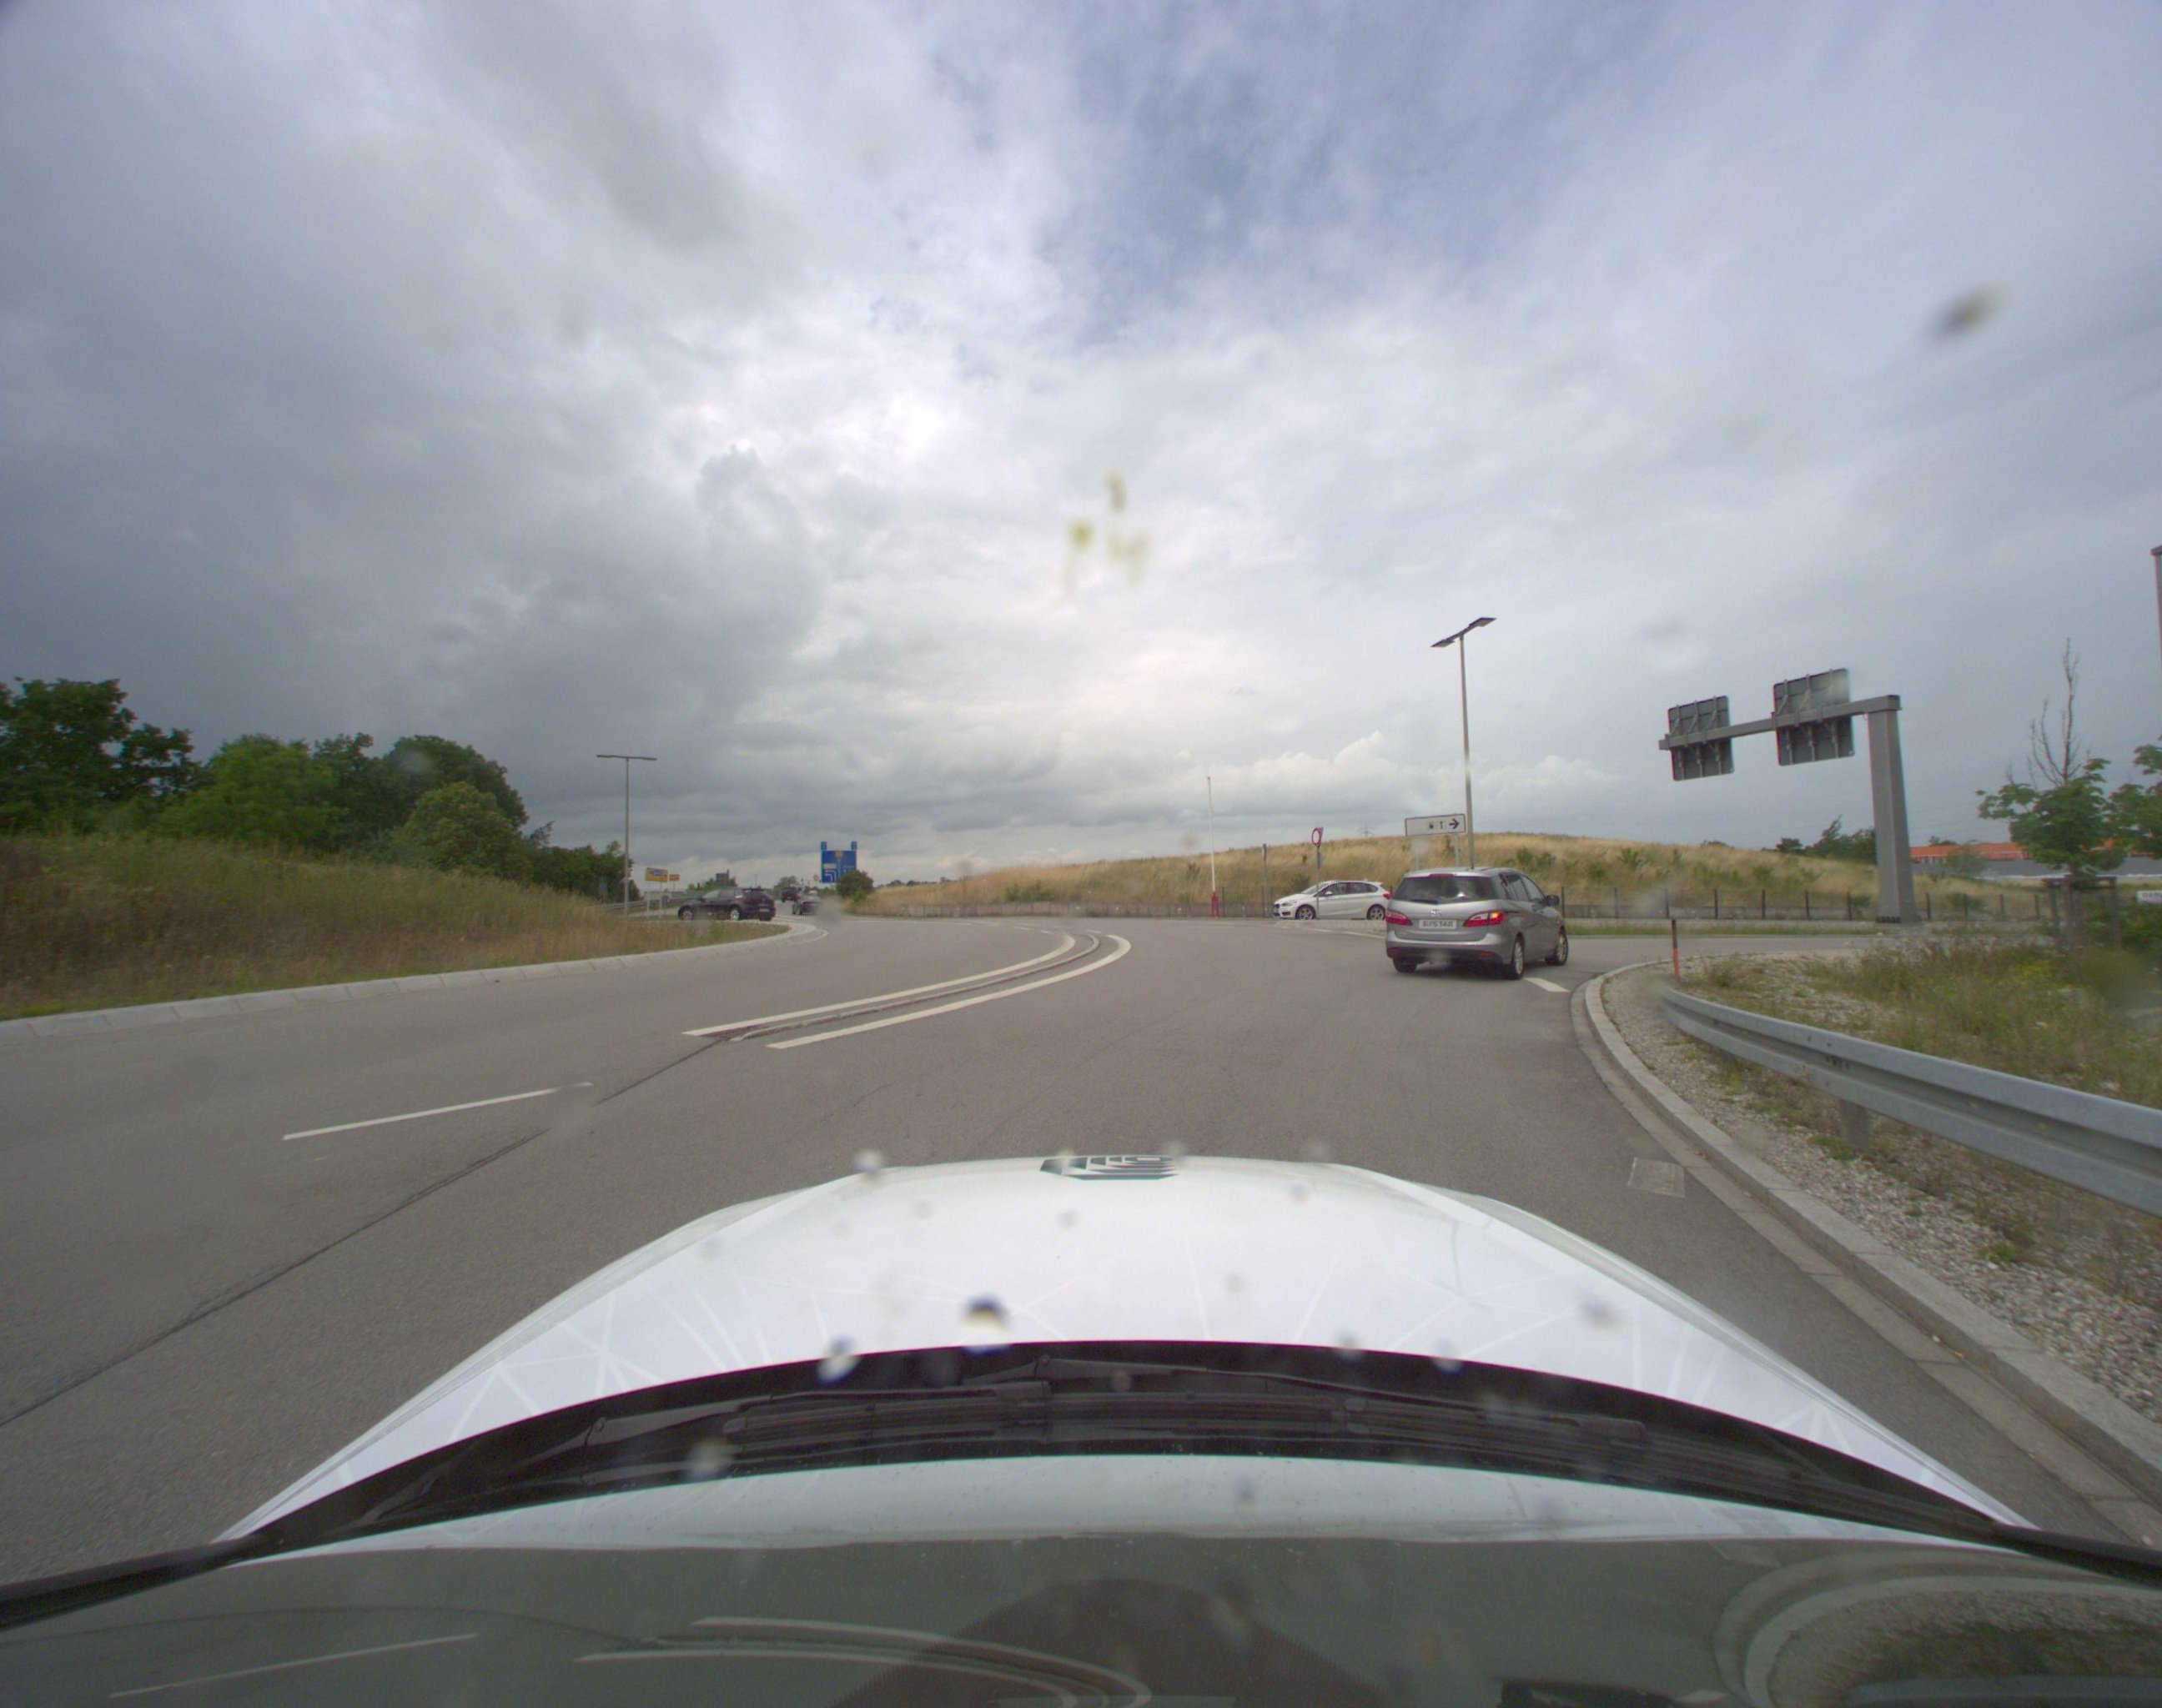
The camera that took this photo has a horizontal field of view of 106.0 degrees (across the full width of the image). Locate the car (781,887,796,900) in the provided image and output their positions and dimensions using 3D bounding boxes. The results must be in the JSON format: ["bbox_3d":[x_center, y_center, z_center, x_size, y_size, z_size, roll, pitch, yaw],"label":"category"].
[{"bbox_3d":[-36.801,4.992,102.529,1.605,1.549,4.015,-1,-1,-23],"label":"car"}]

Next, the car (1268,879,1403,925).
[{"bbox_3d":[9.279,1.741,29.908,4.405,1.629,1.781,0,-1,-5],"label":"car"}]

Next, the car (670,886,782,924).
[{"bbox_3d":[-13.995,2.021,32.135,3.953,1.378,1.675,-2,-1,21],"label":"car"}]

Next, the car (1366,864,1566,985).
[{"bbox_3d":[6.177,1.000,12.823,1.893,1.574,4.024,-2,-3,39],"label":"car"}]

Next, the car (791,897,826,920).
[{"bbox_3d":[-18.953,3.792,56.566,1.528,1.486,3.579,1,-4,-31],"label":"car"}]
